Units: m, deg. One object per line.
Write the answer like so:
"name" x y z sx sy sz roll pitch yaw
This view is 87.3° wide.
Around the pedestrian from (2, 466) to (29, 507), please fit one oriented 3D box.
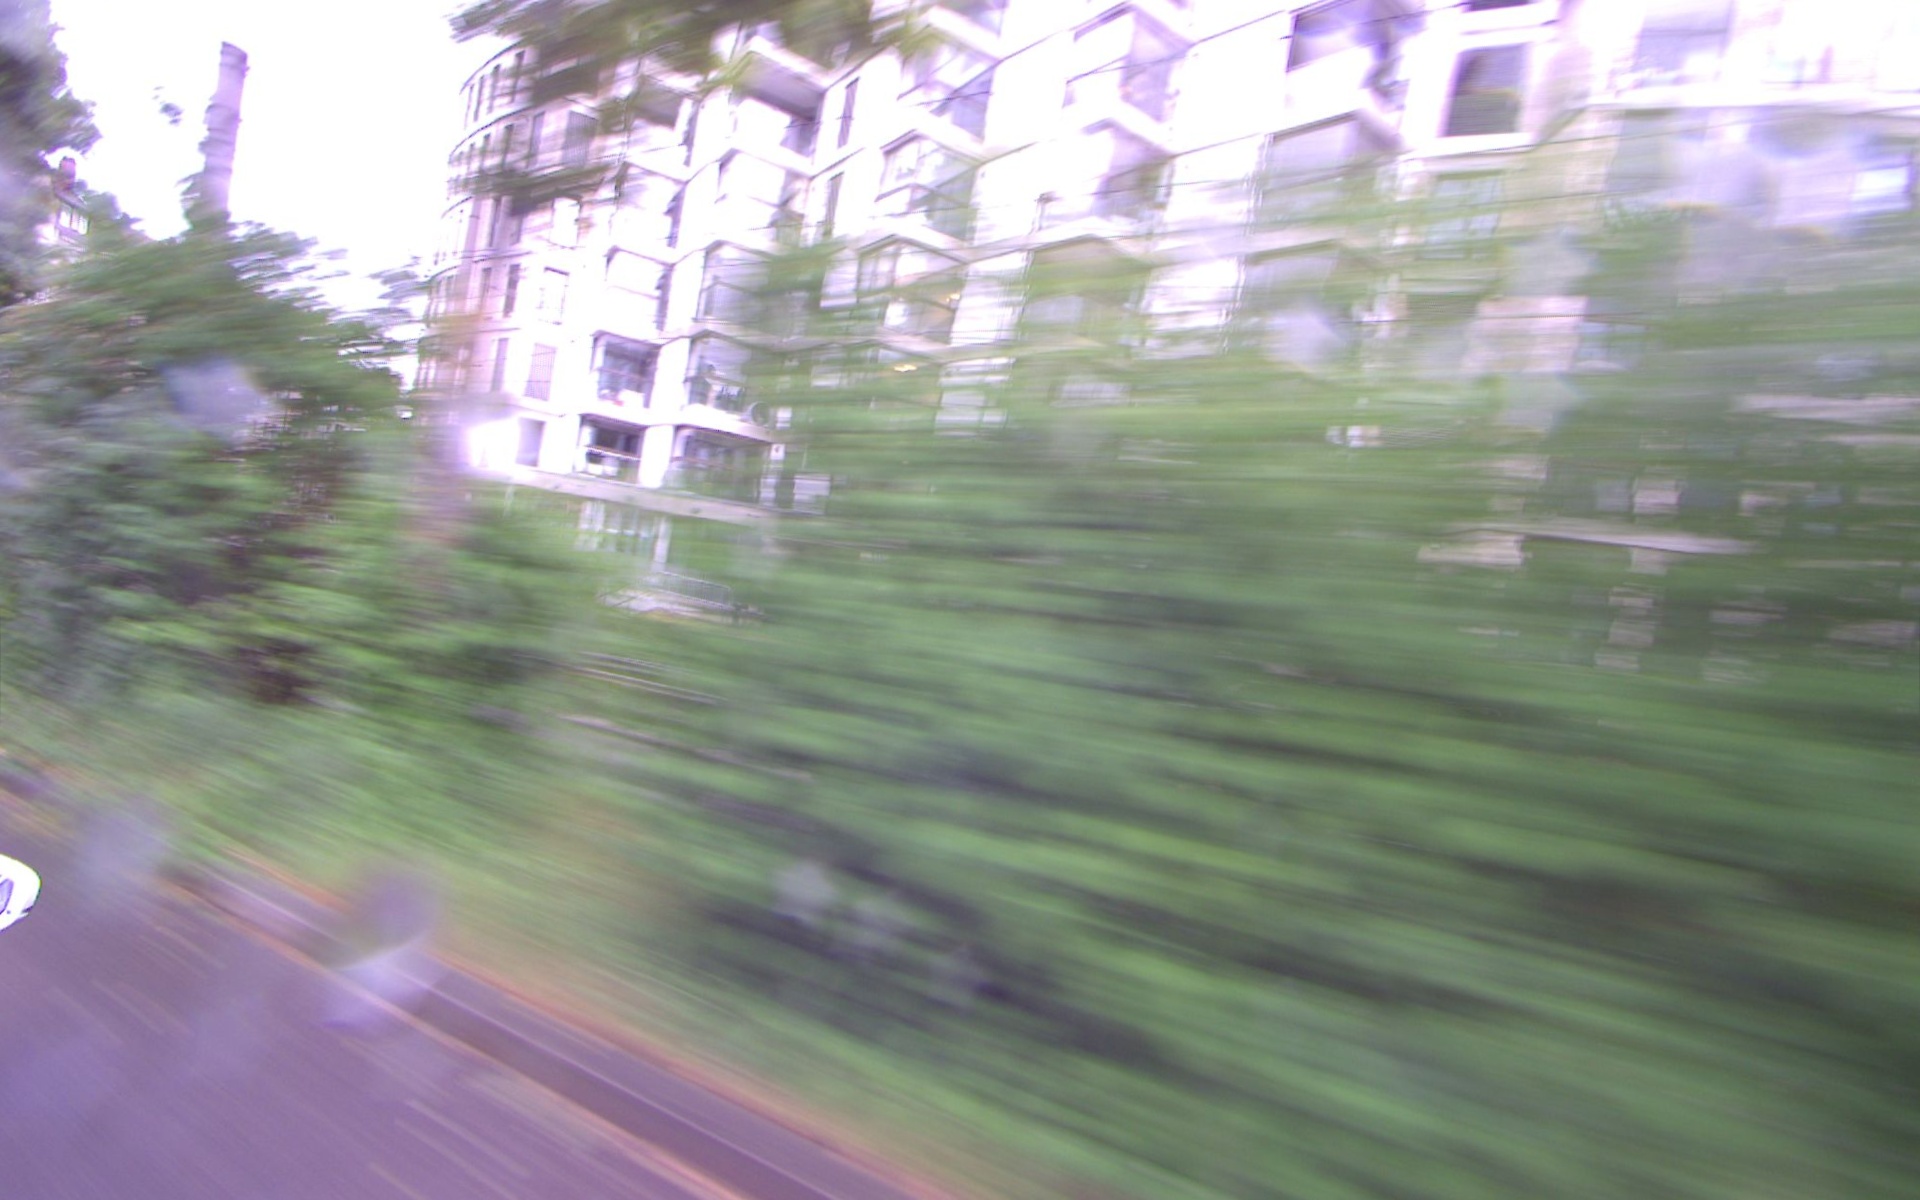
"pedestrian" -43.923 -5.286 46.798 0.571 1.772 0.540 9 -1 -26
